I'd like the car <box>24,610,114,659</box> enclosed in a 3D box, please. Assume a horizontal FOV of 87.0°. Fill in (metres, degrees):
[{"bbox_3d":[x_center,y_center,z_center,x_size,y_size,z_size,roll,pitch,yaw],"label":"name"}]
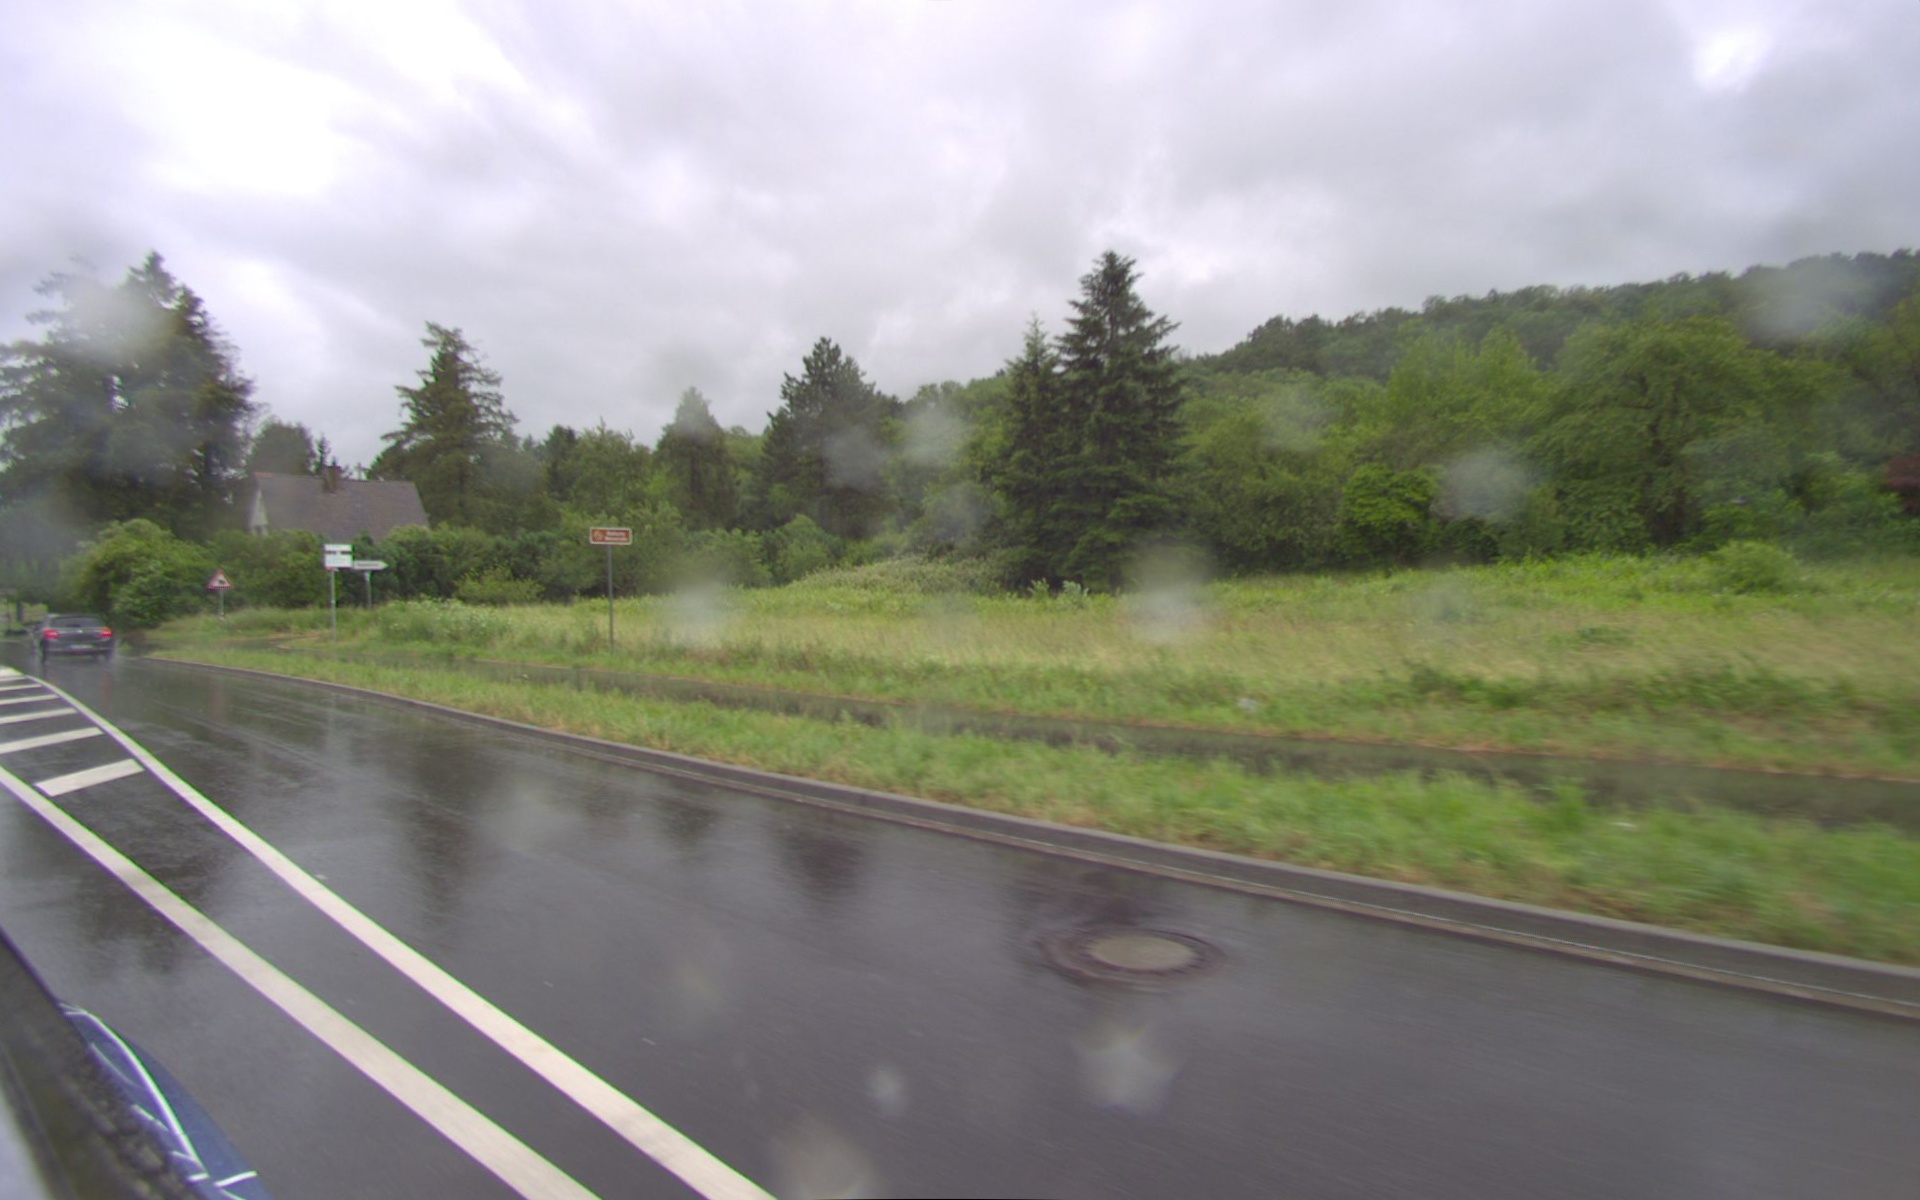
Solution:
[{"bbox_3d":[-27.515,1.039,31.214,3.766,1.412,1.678,-1,-2,43],"label":"car"}]
